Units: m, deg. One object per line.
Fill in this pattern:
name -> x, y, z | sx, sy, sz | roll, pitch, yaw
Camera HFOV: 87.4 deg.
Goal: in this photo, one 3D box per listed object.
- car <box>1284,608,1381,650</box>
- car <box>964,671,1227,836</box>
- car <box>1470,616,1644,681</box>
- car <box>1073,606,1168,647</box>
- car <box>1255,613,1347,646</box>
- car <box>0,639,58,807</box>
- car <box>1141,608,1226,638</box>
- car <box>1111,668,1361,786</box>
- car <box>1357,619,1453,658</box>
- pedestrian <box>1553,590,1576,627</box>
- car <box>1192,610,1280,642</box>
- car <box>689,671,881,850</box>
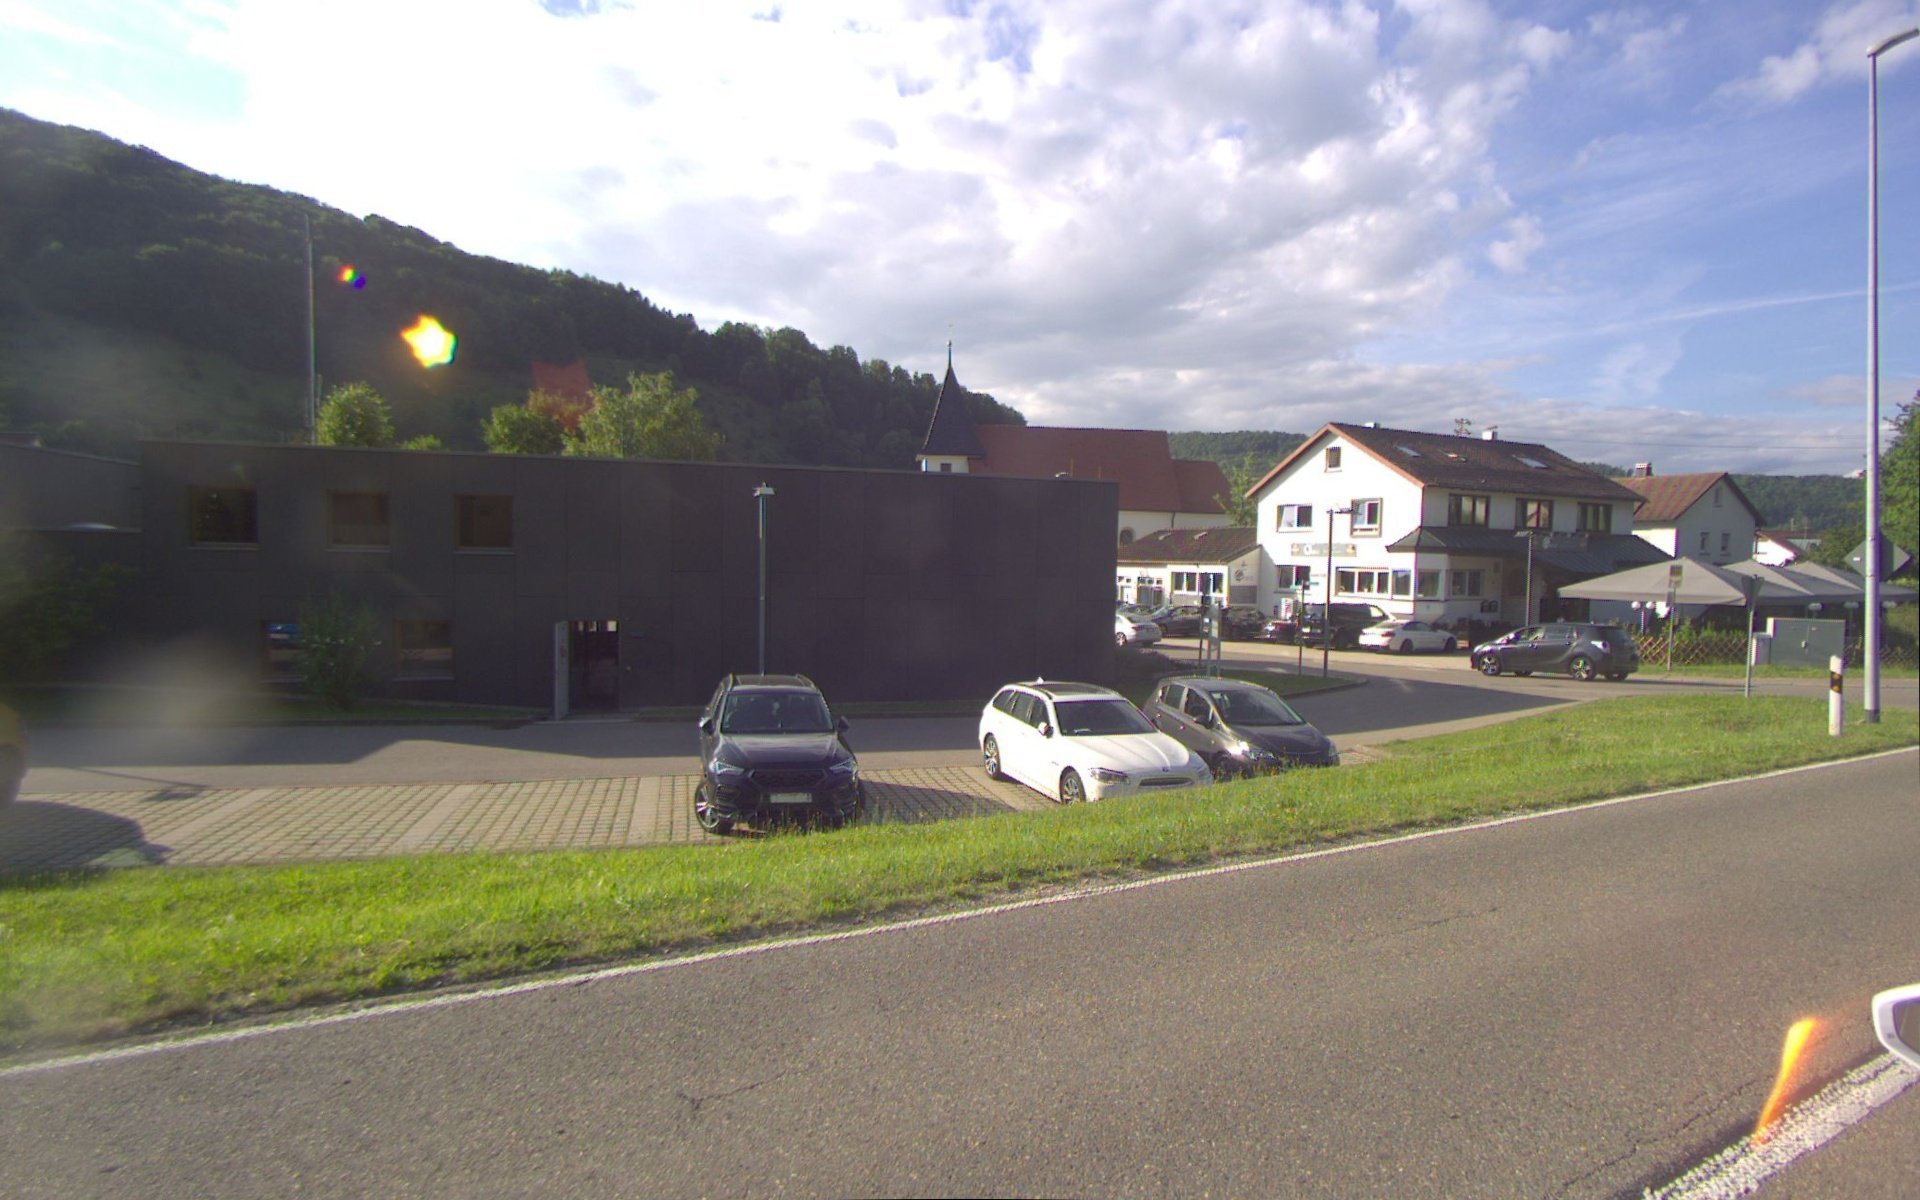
car -> 16.220, 1.263, 43.721 | 3.952, 1.684, 1.878 | 2, 0, -30
car -> 1.661, 1.992, 14.297 | 1.851, 1.513, 4.811 | 2, 0, -17
car -> 17.196, 1.360, 29.112 | 1.732, 1.661, 3.966 | 2, 0, -31
car -> 7.143, 1.145, 45.076 | 1.789, 1.661, 4.427 | 2, 0, -30
car -> 15.682, 1.368, 46.176 | 3.953, 1.372, 1.832 | 2, 0, -30
car -> -11.711, 1.413, 10.051 | 1.966, 1.892, 4.613 | 2, 0, -13
car -> 11.304, 1.154, 50.783 | 3.951, 1.372, 1.833 | 2, 0, -29
car -> 4.131, 1.864, 15.712 | 1.735, 1.327, 3.980 | 2, 0, -21
car -> 18.281, 1.602, 41.200 | 3.952, 1.469, 1.548 | 2, 0, -30
pedestrian -> 25.564, 0.347, 42.487 | 0.583, 1.523, 0.606 | 2, 0, -29
car -> 13.268, 1.241, 48.260 | 3.953, 1.372, 1.832 | 2, 0, -30
car -> -2.442, 1.918, 13.143 | 1.968, 1.659, 4.023 | 2, 0, -17
